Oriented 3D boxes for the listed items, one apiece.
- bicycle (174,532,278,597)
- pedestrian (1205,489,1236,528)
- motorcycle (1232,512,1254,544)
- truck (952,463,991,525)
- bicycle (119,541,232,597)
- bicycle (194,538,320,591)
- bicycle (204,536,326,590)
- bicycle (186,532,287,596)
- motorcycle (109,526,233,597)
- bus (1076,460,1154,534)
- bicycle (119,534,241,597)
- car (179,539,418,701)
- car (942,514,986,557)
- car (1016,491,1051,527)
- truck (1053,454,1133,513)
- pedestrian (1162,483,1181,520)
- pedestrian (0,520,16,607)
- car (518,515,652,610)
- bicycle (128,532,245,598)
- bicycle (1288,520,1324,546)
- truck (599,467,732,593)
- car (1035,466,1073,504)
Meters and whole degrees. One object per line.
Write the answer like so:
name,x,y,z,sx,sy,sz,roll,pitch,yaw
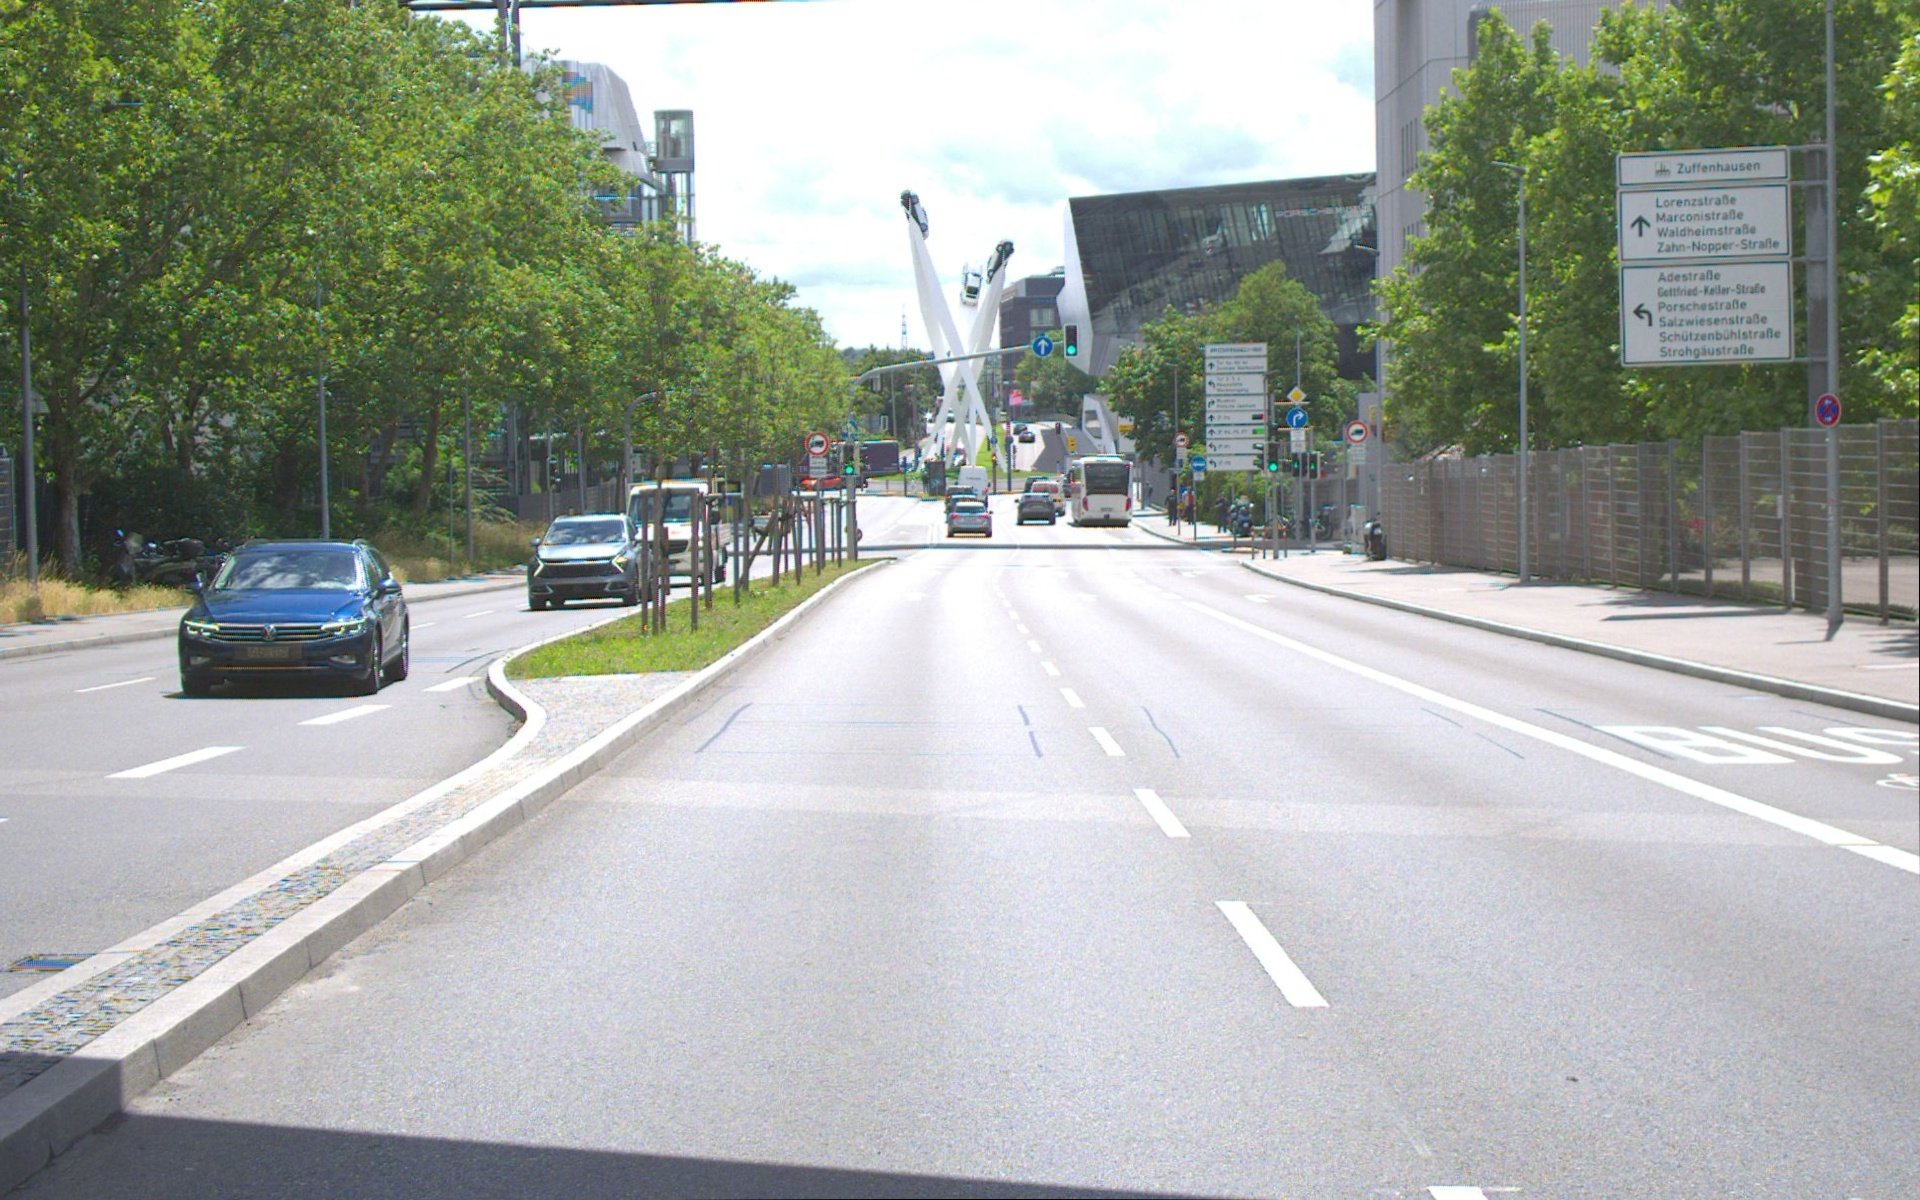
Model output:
bicycle,-14.740,-0.716,69.040,1.918,1.278,0.806,0,1,-1
pedestrian,10.847,-3.815,143.209,0.849,1.619,0.954,2,2,43
motorcycle,10.950,-2.802,133.185,0.706,1.199,2.024,-2,2,1
truck,0.779,-6.809,221.325,2.392,3.884,6.177,0,2,1
bicycle,-15.113,-0.594,66.247,2.080,1.059,0.497,0,1,-1
bicycle,-15.123,-0.771,73.979,2.566,1.092,0.695,-1,1,11
bicycle,-15.351,-0.817,75.920,2.566,1.153,0.725,1,1,11
bicycle,-14.770,-0.737,70.213,1.918,1.278,0.806,0,1,-1
motorcycle,-14.687,-0.719,64.022,2.133,1.304,0.806,0,1,-1
bus,7.643,-5.117,171.277,3.452,3.531,10.607,0,2,0
bicycle,-14.748,-0.650,65.028,2.133,1.176,0.806,0,1,-1
car,-6.375,0.140,33.544,1.708,1.448,4.480,0,1,-3
car,0.188,-2.697,142.410,1.738,1.735,3.691,0,2,1
car,3.615,-4.485,168.987,1.738,1.735,3.691,0,2,1
truck,10.107,-8.782,259.701,3.456,4.376,9.412,1,2,19
pedestrian,9.827,-4.553,159.538,0.820,1.701,0.881,0,1,1
pedestrian,-17.499,-0.664,61.756,0.754,1.546,0.820,0,1,10
car,-6.608,-0.686,60.950,1.905,1.625,4.293,0,1,0
bicycle,-15.313,-0.695,68.090,2.133,1.278,0.806,0,1,-1
bicycle,12.810,-2.477,127.247,0.397,0.933,1.929,0,2,-24
truck,-6.675,-1.612,78.623,2.479,2.741,6.459,-1,1,0
car,5.336,-6.560,196.030,1.993,2.007,4.000,1,0,0
